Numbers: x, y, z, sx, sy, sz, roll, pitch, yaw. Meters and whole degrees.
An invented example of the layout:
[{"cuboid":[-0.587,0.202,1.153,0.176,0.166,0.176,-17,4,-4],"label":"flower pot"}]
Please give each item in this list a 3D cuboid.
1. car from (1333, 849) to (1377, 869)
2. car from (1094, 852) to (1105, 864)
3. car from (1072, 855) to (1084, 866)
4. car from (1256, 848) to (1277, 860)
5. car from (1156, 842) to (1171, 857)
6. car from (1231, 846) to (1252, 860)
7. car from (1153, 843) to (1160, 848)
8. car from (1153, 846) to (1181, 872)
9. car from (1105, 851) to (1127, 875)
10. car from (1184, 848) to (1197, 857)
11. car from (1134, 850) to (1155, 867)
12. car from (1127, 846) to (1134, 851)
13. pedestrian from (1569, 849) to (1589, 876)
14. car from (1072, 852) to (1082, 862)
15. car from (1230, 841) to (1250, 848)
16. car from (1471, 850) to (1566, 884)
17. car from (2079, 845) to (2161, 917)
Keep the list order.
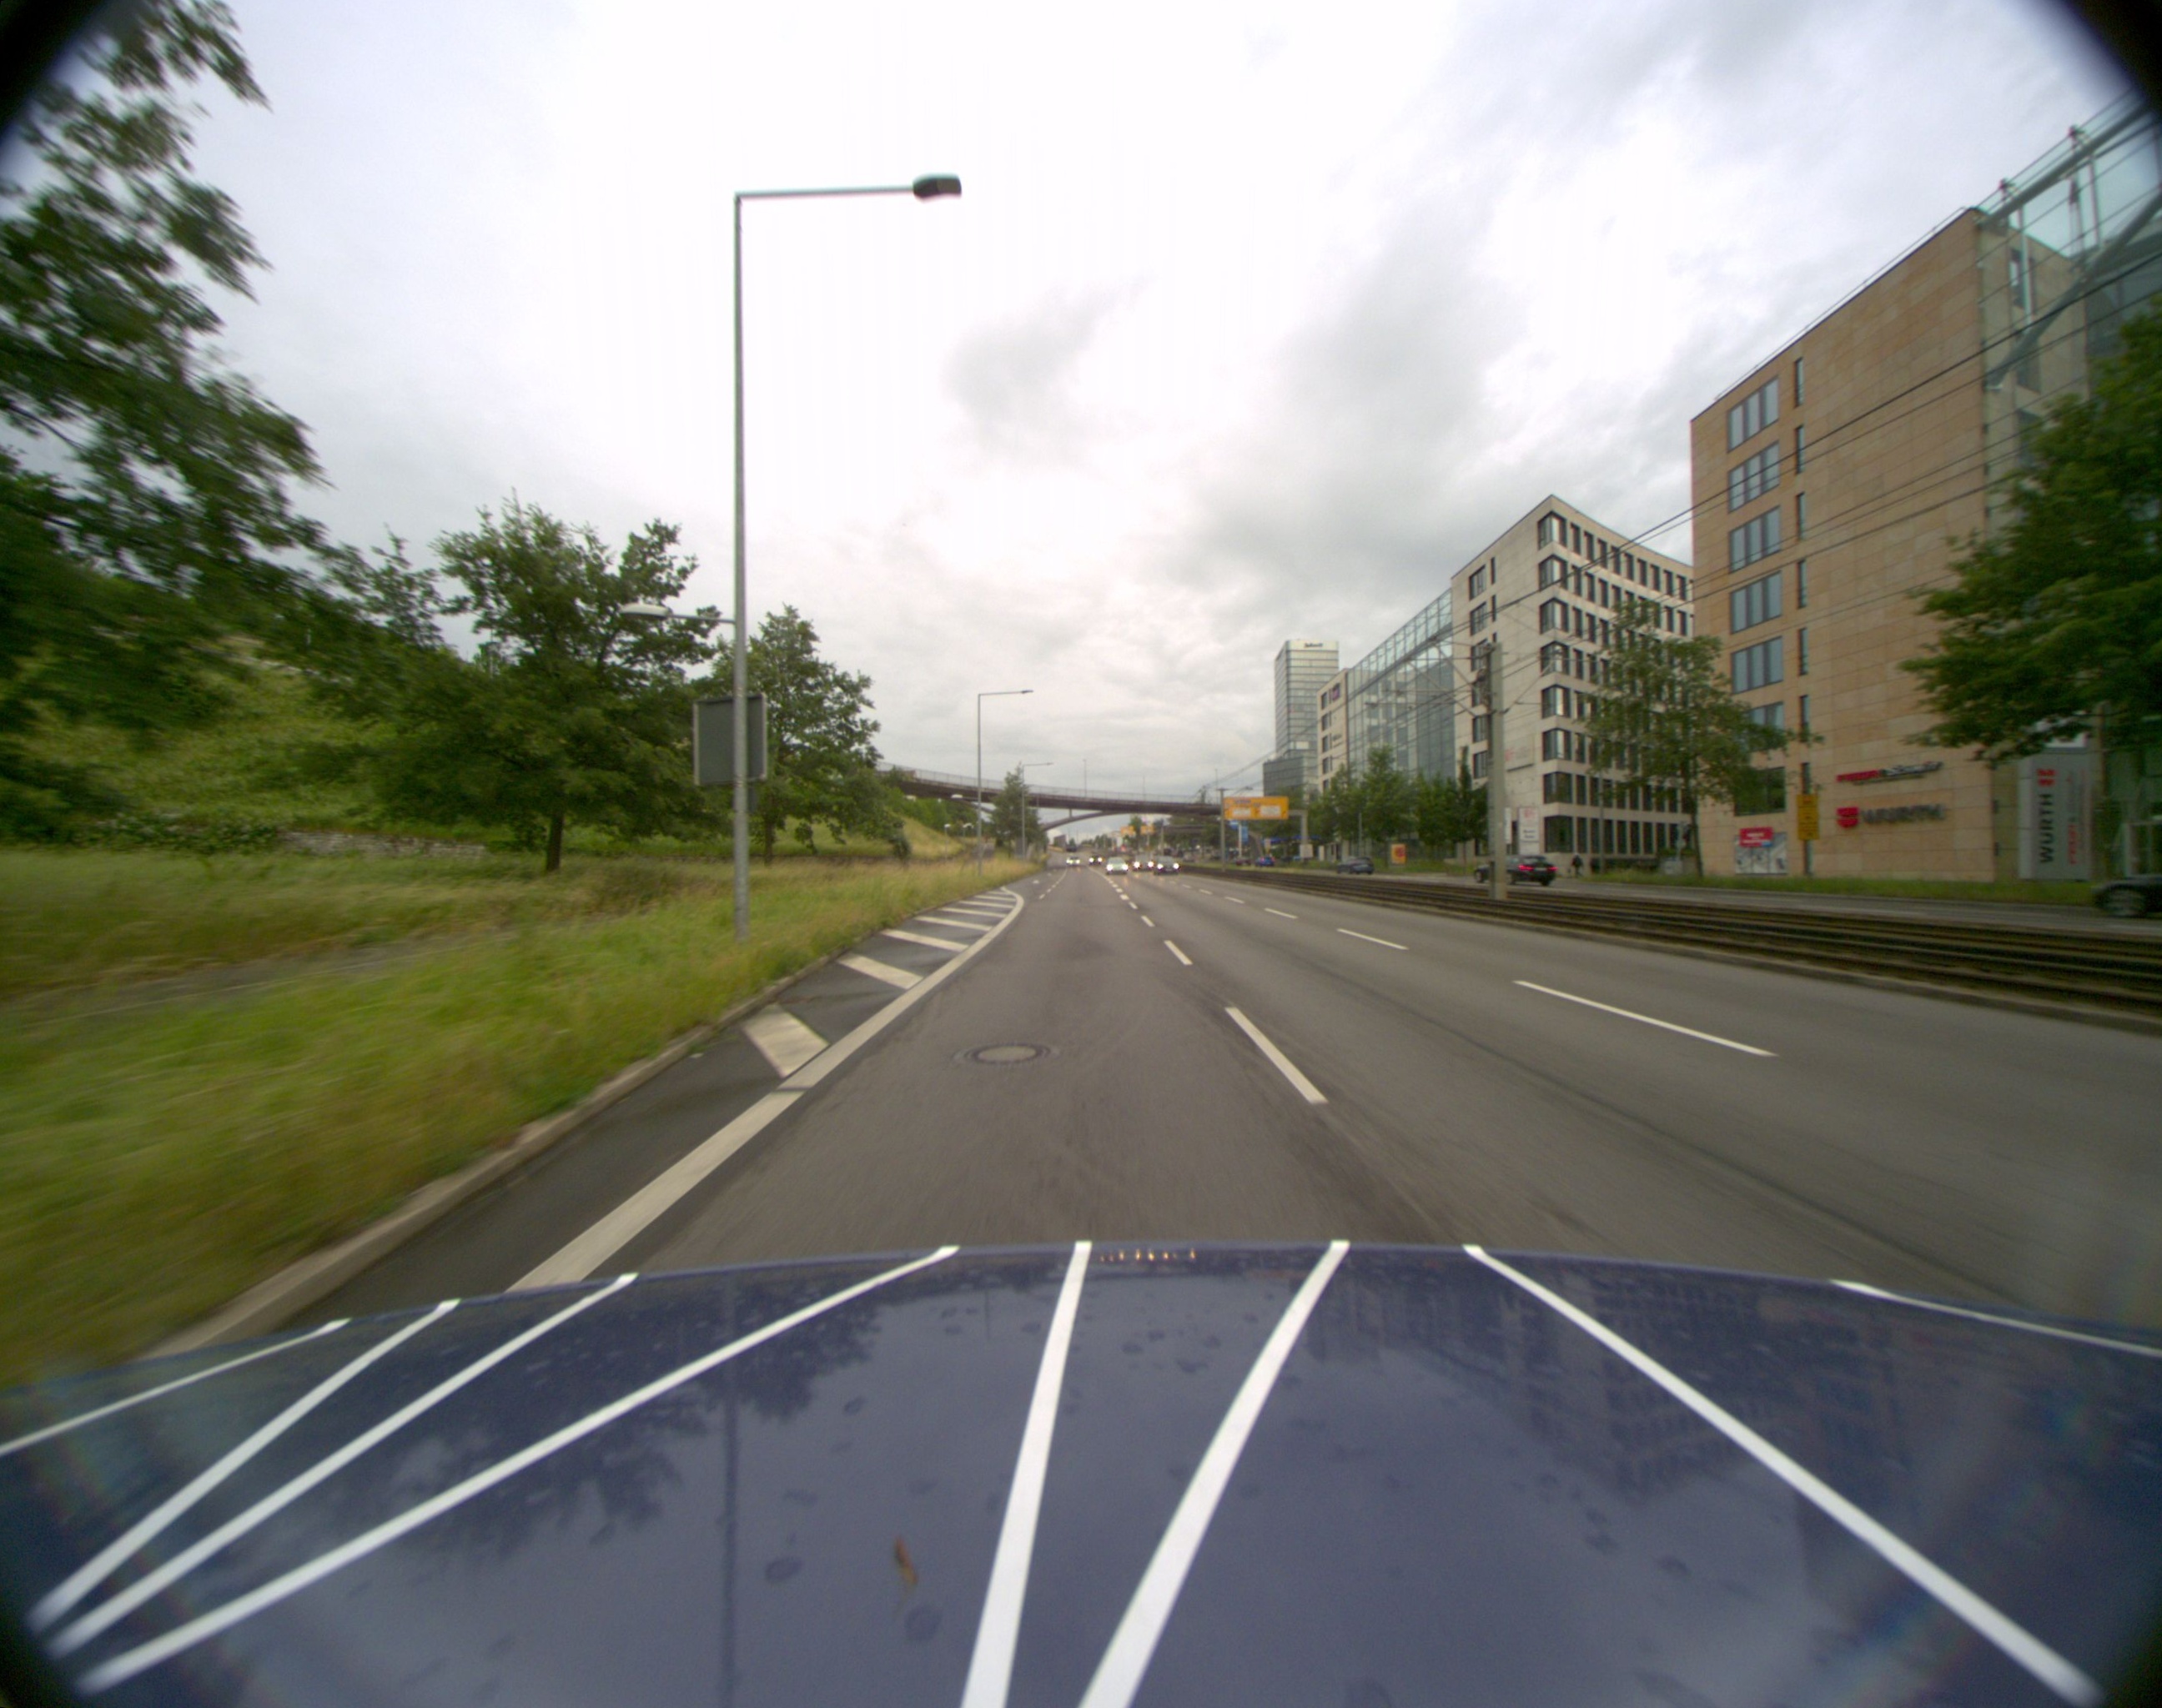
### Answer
[{"cuboid":[21.708,0.417,60.424,1.845,1.477,4.653,2,0,1],"label":"car"},{"cuboid":[3.058,0.615,127.621,1.794,1.858,4.376,-2,2,1],"label":"car"},{"cuboid":[-0.530,1.089,126.444,1.794,1.622,4.376,-2,2,1],"label":"car"},{"cuboid":[24.705,0.005,101.280,1.845,1.446,4.023,-2,2,1],"label":"car"},{"cuboid":[17.103,-0.970,157.307,2.390,2.801,5.610,-2,1,-1],"label":"car"},{"cuboid":[18.677,-0.119,88.549,1.776,1.493,4.199,-2,2,3],"label":"car"},{"cuboid":[22.842,-2.528,229.494,1.814,1.524,4.274,-3,0,0],"label":"car"},{"cuboid":[6.903,0.363,61.229,1.794,1.858,4.376,-2,2,1],"label":"car"},{"cuboid":[3.093,0.793,67.347,1.794,1.858,4.376,-2,2,1],"label":"car"},{"cuboid":[21.345,-0.307,148.543,1.764,1.524,4.816,-3,0,-1],"label":"car"},{"cuboid":[6.410,0.419,76.848,1.794,1.536,4.376,-2,2,1],"label":"car"},{"cuboid":[16.263,-1.847,249.504,1.815,1.524,4.867,-3,0,-3],"label":"car"},{"cuboid":[31.328,0.524,47.806,0.643,1.622,0.831,-3,2,-2],"label":"pedestrian"},{"cuboid":[-0.823,0.574,144.700,1.794,1.622,4.375,-2,2,-1],"label":"car"},{"cuboid":[37.632,-2.219,179.777,4.363,1.495,1.885,-2,2,3],"label":"car"},{"cuboid":[20.623,0.582,36.102,1.845,1.477,4.653,2,0,1],"label":"car"},{"cuboid":[23.254,0.588,14.778,1.845,1.477,4.430,2,0,1],"label":"car"}]
